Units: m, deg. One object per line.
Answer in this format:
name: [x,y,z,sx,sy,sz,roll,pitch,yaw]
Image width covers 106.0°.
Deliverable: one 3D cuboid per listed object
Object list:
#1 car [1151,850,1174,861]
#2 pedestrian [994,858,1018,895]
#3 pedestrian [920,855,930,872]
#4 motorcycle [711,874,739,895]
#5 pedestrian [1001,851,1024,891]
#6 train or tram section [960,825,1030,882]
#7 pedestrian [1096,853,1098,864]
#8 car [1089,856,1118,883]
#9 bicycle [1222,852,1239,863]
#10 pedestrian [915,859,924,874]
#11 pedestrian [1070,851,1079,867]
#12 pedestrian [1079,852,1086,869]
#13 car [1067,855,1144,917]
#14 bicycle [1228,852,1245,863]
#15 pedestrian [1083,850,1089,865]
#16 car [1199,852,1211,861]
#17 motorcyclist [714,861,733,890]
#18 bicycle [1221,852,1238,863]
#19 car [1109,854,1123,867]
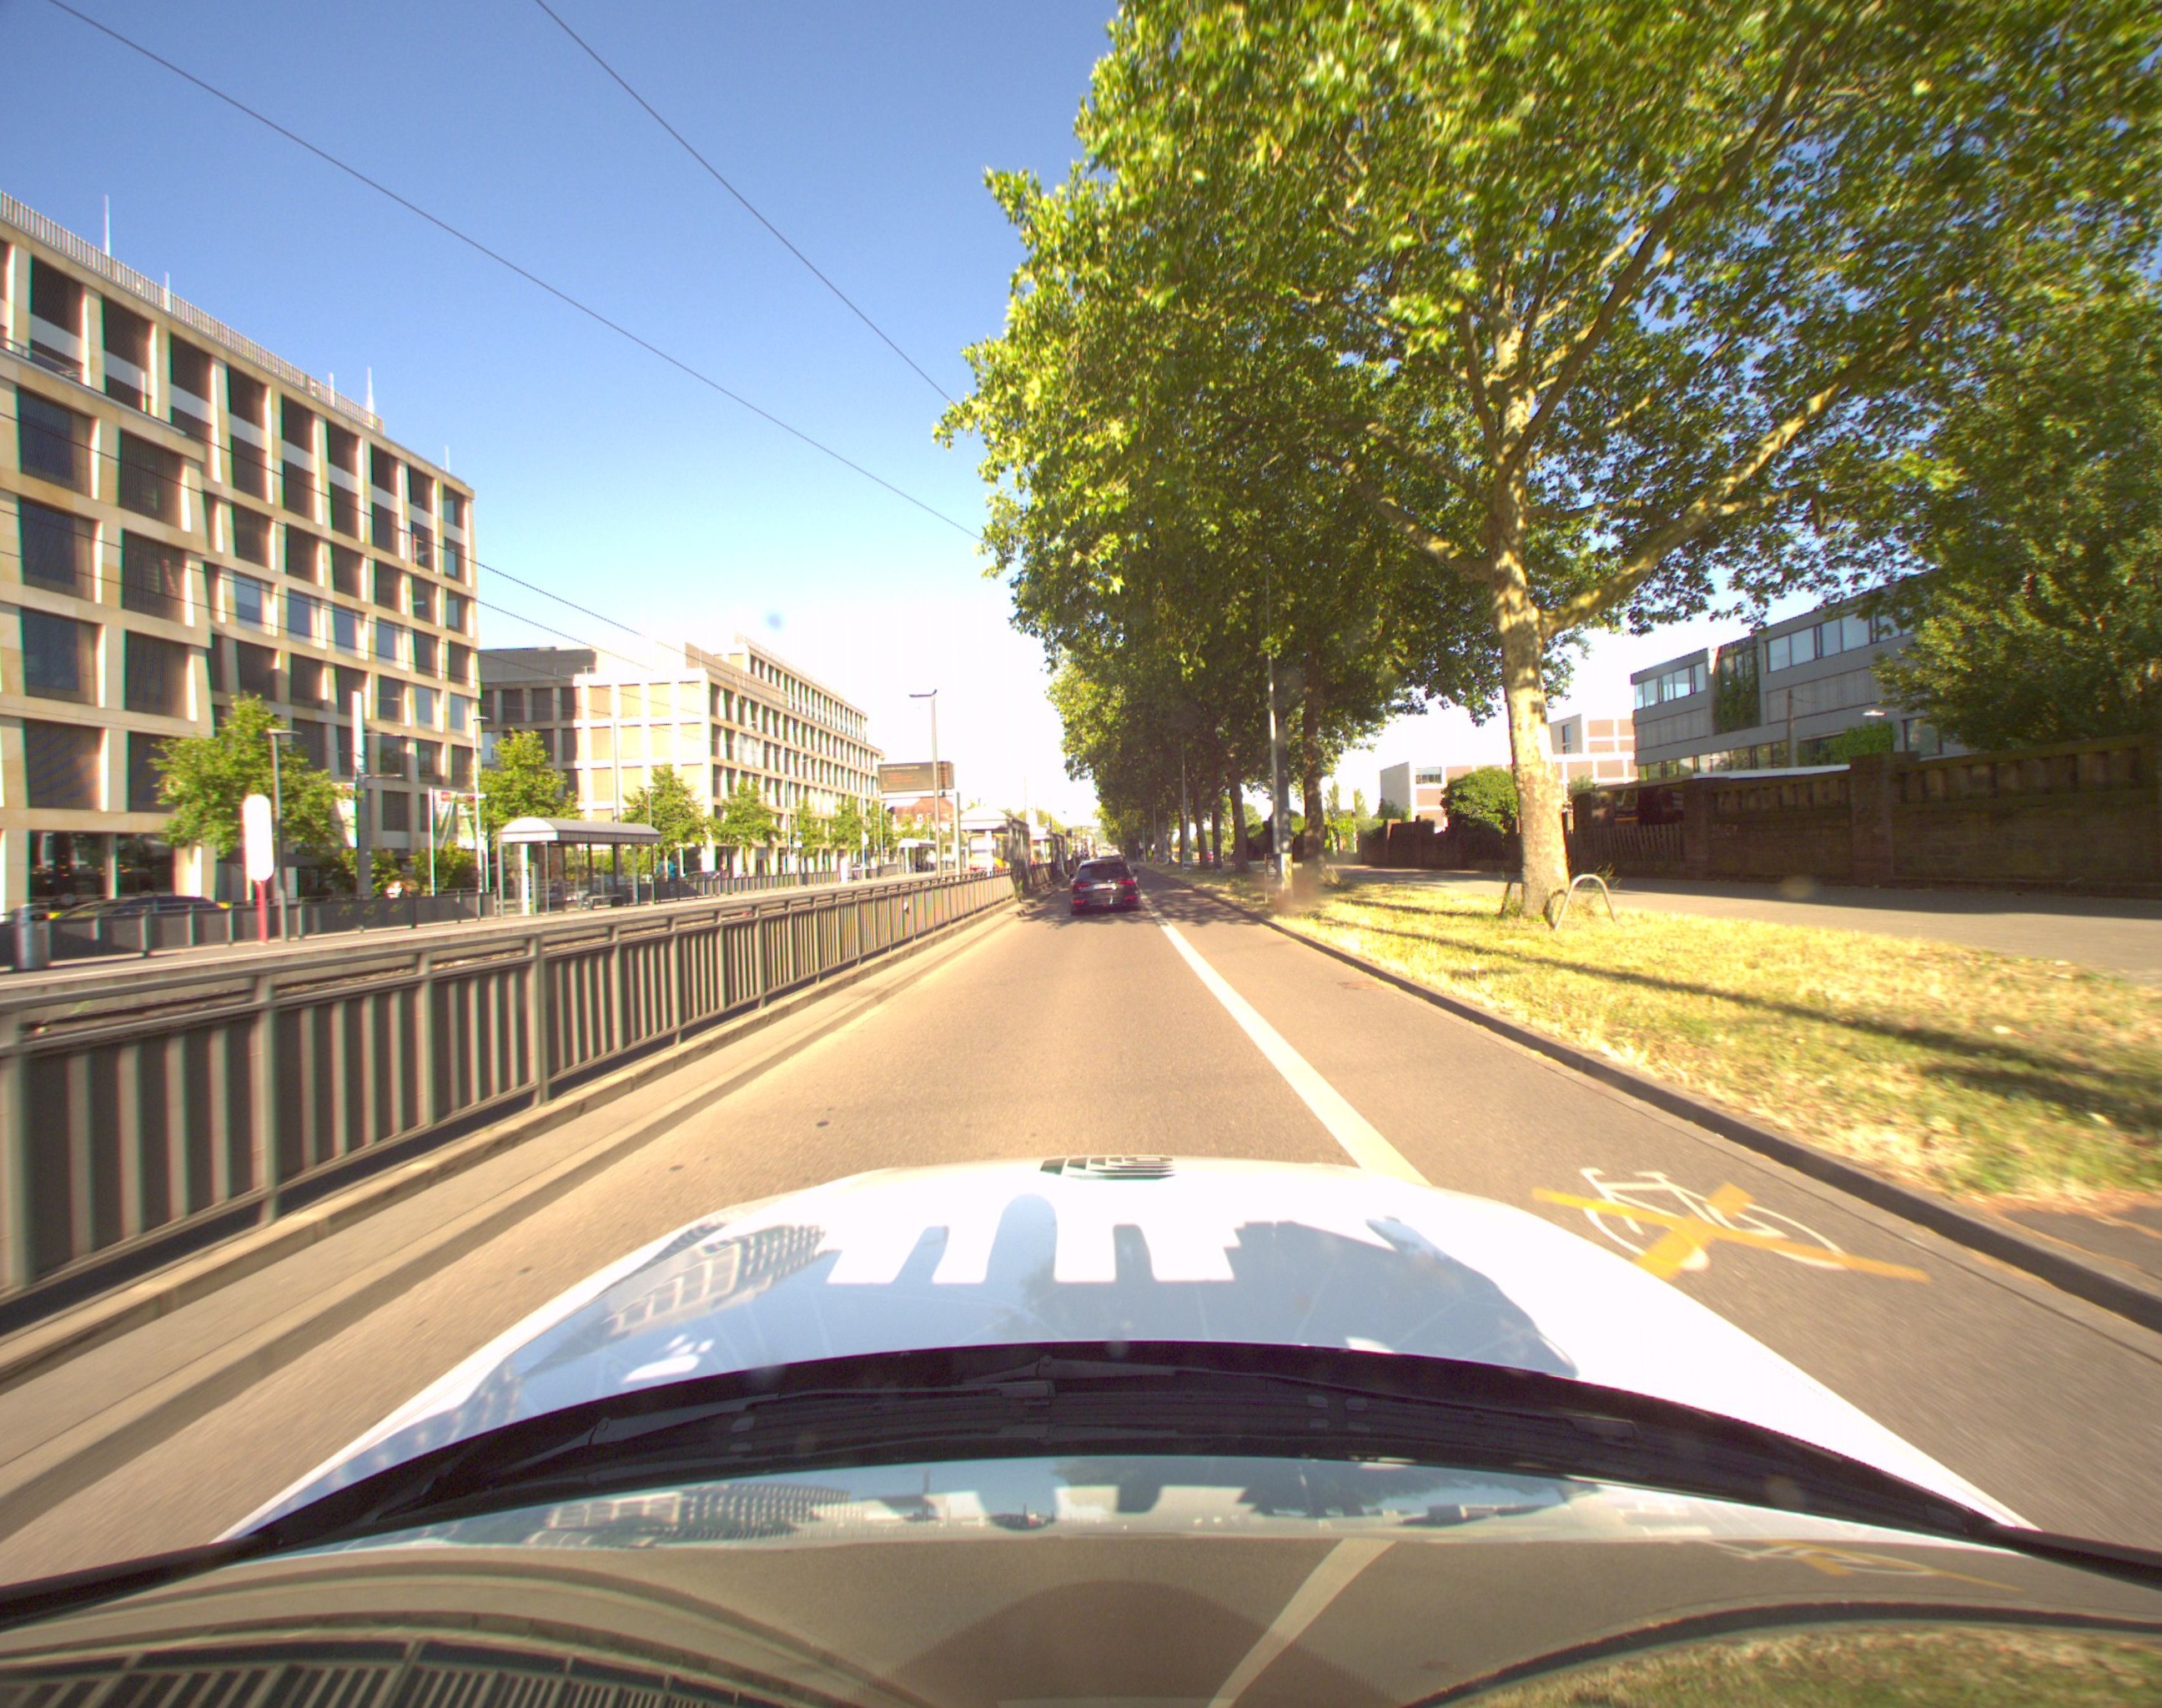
car: [14.551,0.311,145.054,3.970,1.764,1.835,-2,-1,3]
pedestrian: [-2.637,0.777,28.614,0.739,1.274,0.525,-2,0,1]
pedestrian: [-14.604,0.890,76.244,0.610,1.527,0.726,-2,-1,10]
motorcycle: [-19.468,1.657,44.578,0.602,1.021,1.843,-2,0,3]
pedestrian: [-2.651,0.641,31.561,0.742,1.508,0.667,-3,0,4]
train or tram section: [-6.427,-0.014,63.700,3.296,3.829,14.226,-2,0,2]
pedestrian: [2.634,0.696,133.900,0.410,1.717,0.666,-2,-1,2]
car: [1.410,0.969,52.640,1.757,1.619,4.000,-2,0,0]
bicycle: [17.047,0.361,93.058,1.767,1.120,0.439,-3,-1,1]
pedestrian: [-14.595,1.135,73.653,0.611,1.260,0.725,-2,-1,6]
pedestrian: [-0.630,0.489,78.743,0.610,1.549,0.727,-2,-1,12]
pedestrian: [0.177,0.661,84.448,0.609,1.668,0.614,-2,-1,4]
car: [0.620,0.798,22.169,1.872,1.457,3.356,-3,0,0]
bicycle: [16.617,0.358,86.783,1.681,1.120,0.439,-3,-1,1]
pedestrian: [0.619,0.445,96.910,0.609,1.784,0.614,-2,-1,2]
car: [20.651,0.392,136.001,1.608,1.515,3.805,-2,0,3]
motorcyclist: [-19.506,1.183,44.437,0.573,1.533,0.765,-2,0,3]
bicycle: [16.777,0.376,92.020,1.767,1.120,0.439,-3,-1,1]
car: [4.799,0.888,112.055,1.757,1.619,4.000,-2,0,0]
